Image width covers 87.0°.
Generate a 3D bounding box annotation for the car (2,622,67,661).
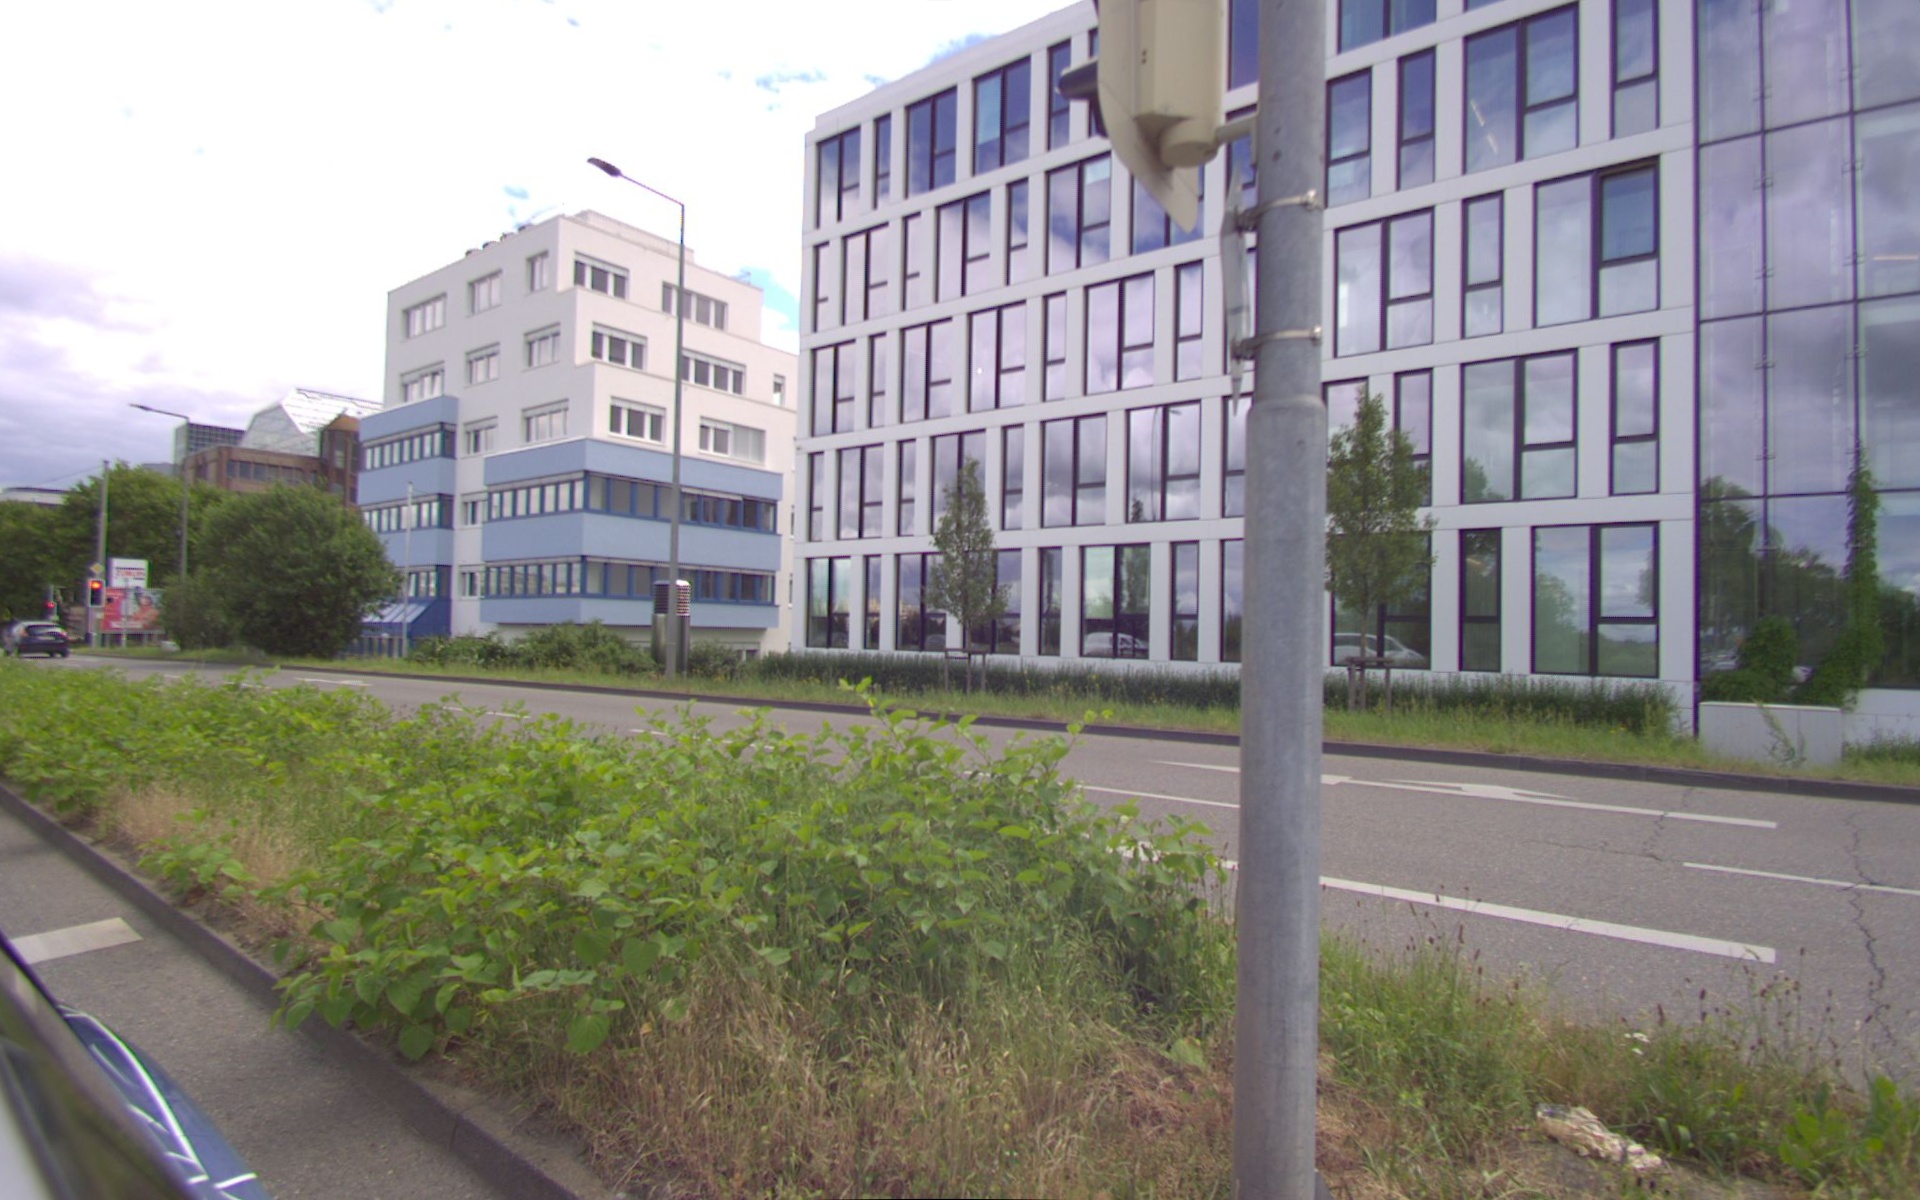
[{"bbox_3d":[-38.140,1.661,41.693,3.893,1.457,1.735,0,0,44],"label":"car"}]
